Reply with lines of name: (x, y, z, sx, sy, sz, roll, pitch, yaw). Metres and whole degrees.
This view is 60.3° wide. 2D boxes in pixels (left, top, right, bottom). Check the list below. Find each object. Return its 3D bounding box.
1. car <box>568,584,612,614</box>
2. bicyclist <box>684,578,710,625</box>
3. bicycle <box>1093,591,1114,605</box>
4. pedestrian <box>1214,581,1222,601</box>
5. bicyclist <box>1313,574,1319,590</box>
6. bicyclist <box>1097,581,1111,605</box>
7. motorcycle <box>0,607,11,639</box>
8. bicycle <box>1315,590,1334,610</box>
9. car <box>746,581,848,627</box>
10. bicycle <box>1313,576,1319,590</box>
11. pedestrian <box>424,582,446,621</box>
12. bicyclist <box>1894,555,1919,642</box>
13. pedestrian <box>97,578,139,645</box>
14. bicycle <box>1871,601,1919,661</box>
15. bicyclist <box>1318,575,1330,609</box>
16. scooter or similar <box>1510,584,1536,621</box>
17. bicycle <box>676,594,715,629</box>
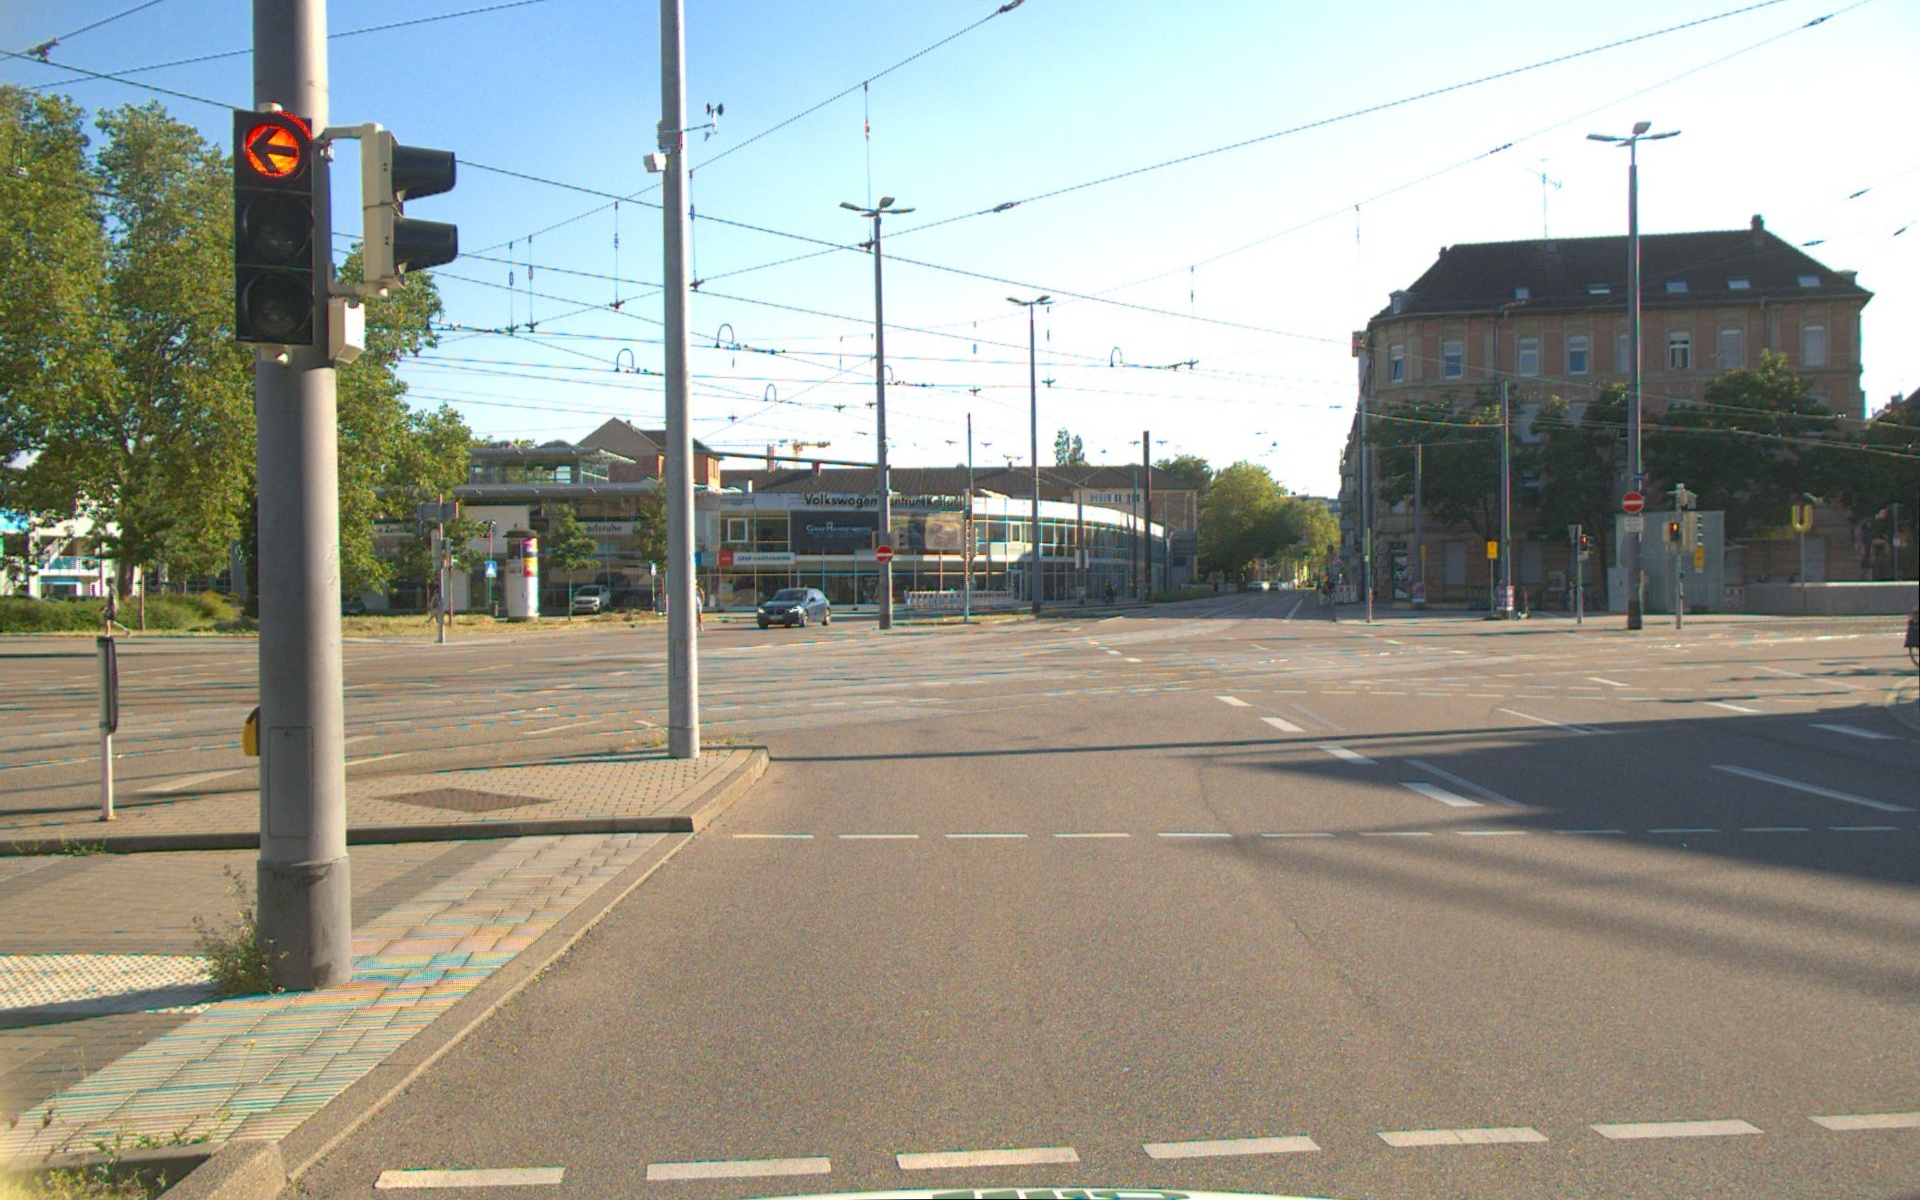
car: (-22.142, -0.052, 99.046, 1.954, 1.780, 3.997, 1, 0, -4)
bicyclist: (-9.478, 0.056, 59.589, 0.585, 1.644, 0.823, 1, -1, 16)
bicycle: (9.929, -0.126, 114.611, 0.626, 0.885, 2.231, 1, 0, 29)
pedestrian: (26.276, -0.947, 168.408, 0.702, 2.049, 0.758, 1, -1, 1)
bicyclist: (25.867, -1.294, 120.201, 0.399, 1.136, 0.399, 1, -1, 11)
bicyclist: (9.991, -0.484, 114.727, 0.641, 1.600, 0.921, 1, -1, 28)
motorcycle: (-28.925, 0.669, 48.521, 1.748, 0.930, 0.675, 1, 0, -21)
bicycle: (18.478, -0.003, 83.935, 0.643, 0.969, 1.600, 1, 0, 2)
car: (-6.033, 0.165, 61.623, 1.954, 1.613, 3.996, 1, 0, 26)
bicycle: (25.830, -1.210, 120.092, 0.401, 0.958, 1.847, 1, 0, 12)
pedestrian: (-23.821, 0.070, 75.069, 0.839, 1.723, 0.496, 1, -1, -3)
bicyclist: (17.655, -0.016, 30.251, 0.505, 1.584, 0.945, 1, 0, -9)
pedestrian: (-24.818, 0.339, 48.738, 0.777, 1.919, 0.759, 1, -1, 6)
bicycle: (17.658, 0.581, 30.146, 0.524, 1.067, 2.316, 1, 1, -9)
bicyclist: (18.484, -0.406, 83.945, 0.508, 1.730, 0.516, 1, -1, 2)
scooter or similar: (21.554, 0.097, 63.332, 0.769, 1.400, 1.910, 1, 0, 13)
bicycle: (-9.504, 0.408, 59.520, 0.599, 1.210, 1.870, 1, 0, 17)
